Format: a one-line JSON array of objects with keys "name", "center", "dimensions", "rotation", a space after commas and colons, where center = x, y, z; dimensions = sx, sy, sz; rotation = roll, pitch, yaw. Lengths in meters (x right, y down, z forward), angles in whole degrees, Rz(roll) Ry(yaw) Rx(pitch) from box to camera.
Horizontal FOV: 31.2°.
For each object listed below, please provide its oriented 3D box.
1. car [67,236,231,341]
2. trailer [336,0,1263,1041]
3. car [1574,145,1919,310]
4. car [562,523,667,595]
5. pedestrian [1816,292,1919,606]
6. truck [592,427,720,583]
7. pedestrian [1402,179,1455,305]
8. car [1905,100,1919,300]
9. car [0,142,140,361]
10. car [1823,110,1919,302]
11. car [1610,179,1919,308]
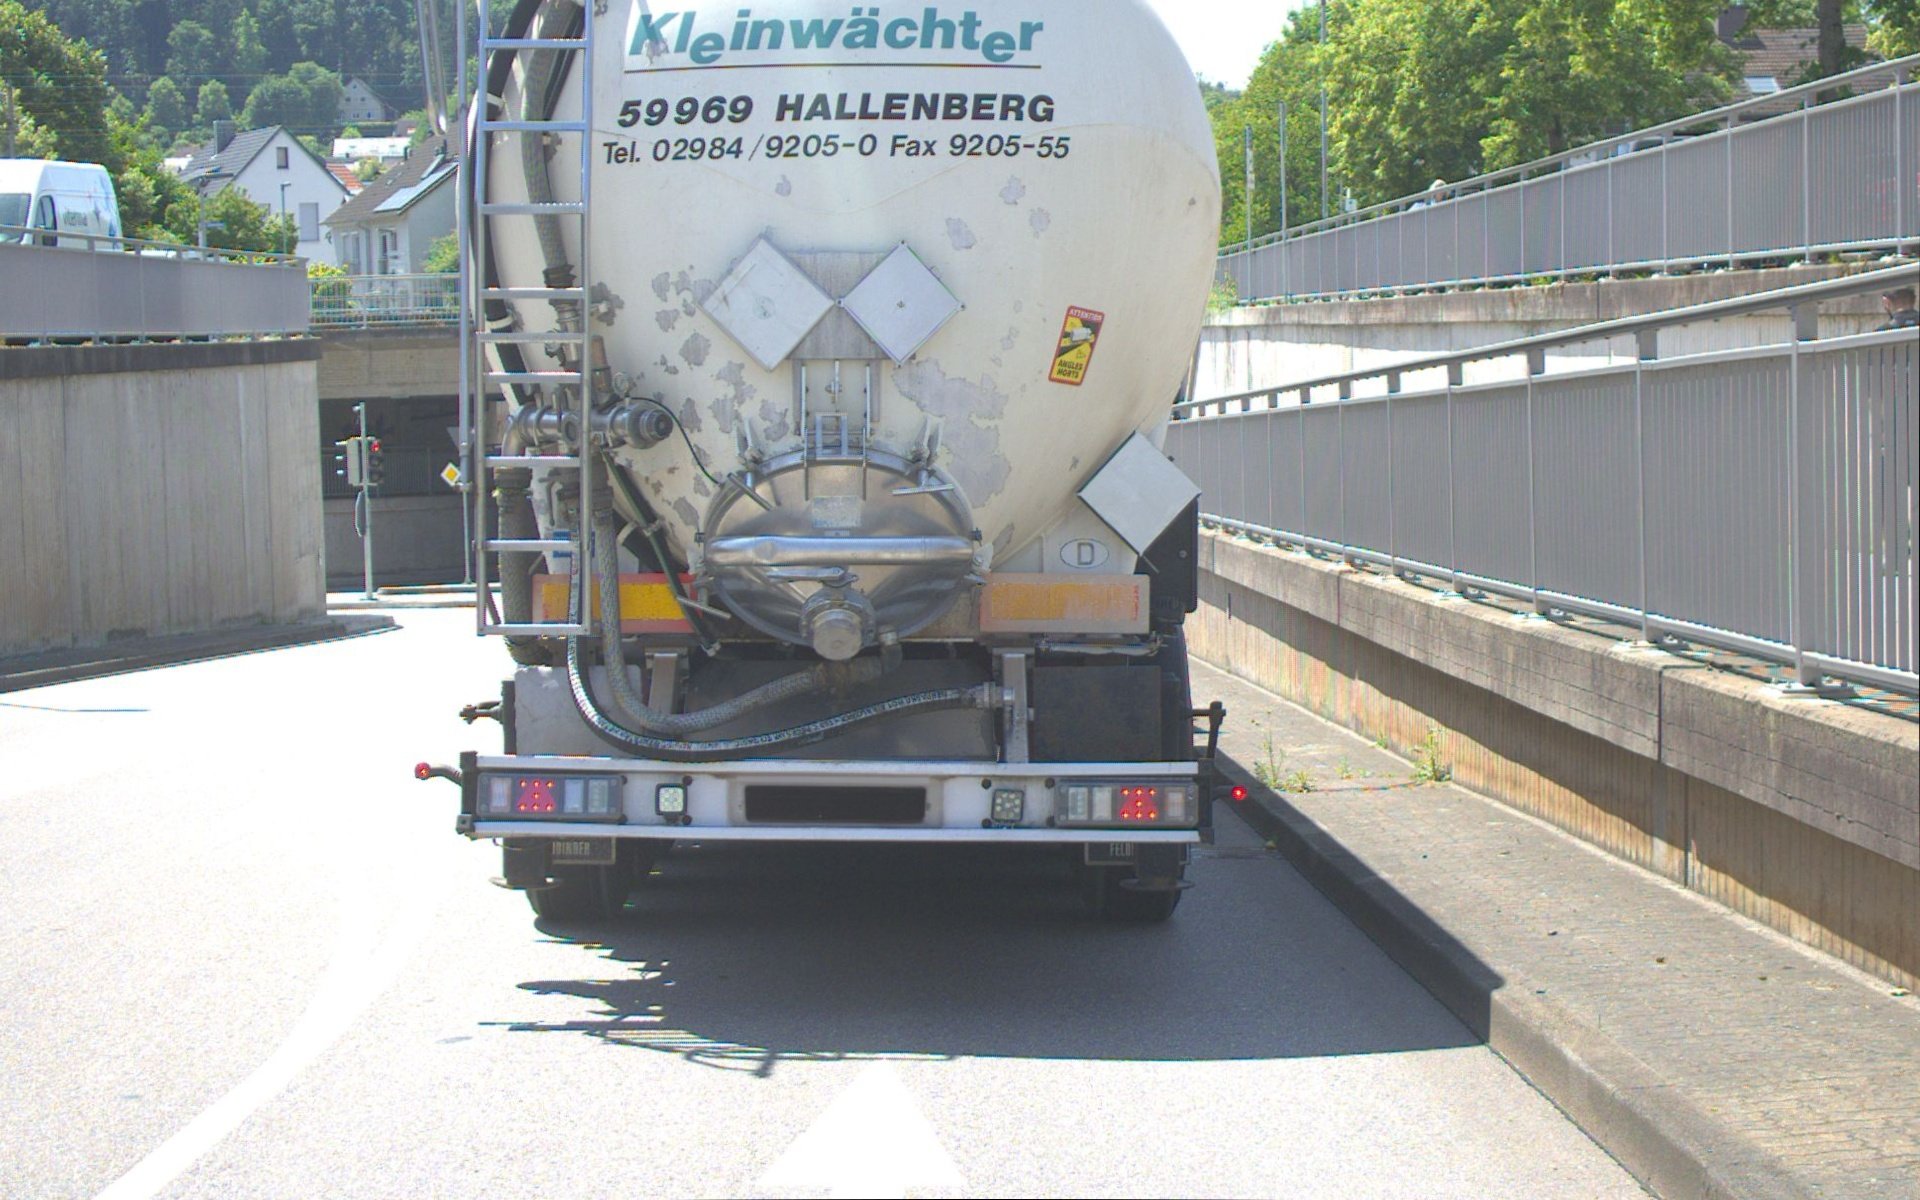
[{"name": "car", "center": [-12.249, -4.693, 52.143], "dimensions": [1.618, 1.495, 4.046], "rotation": [0, 4, -1]}, {"name": "trailer", "center": [-0.426, -0.856, 16.821], "dimensions": [2.735, 4.050, 13.313], "rotation": [0, 1, 0]}, {"name": "car", "center": [9.605, -4.529, 41.992], "dimensions": [3.905, 1.878, 1.686], "rotation": [-1, 4, 1]}, {"name": "car", "center": [-7.285, -0.884, 72.738], "dimensions": [1.760, 1.484, 4.369], "rotation": [0, 1, 0]}, {"name": "pedestrian", "center": [5.486, -0.873, 19.905], "dimensions": [0.836, 1.775, 0.788], "rotation": [-1, 2, 0]}, {"name": "truck", "center": [-7.743, -2.412, 88.246], "dimensions": [2.662, 3.847, 6.580], "rotation": [0, 1, 0]}, {"name": "pedestrian", "center": [6.753, -5.153, 49.543], "dimensions": [0.673, 1.773, 0.594], "rotation": [-1, 4, 1]}, {"name": "car", "center": [9.820, -3.231, 27.250], "dimensions": [4.204, 1.590, 1.686], "rotation": [-1, 4, 1]}, {"name": "car", "center": [-11.940, -4.266, 42.762], "dimensions": [2.065, 2.527, 5.663], "rotation": [1, 4, 1]}, {"name": "car", "center": [9.804, -3.436, 29.850], "dimensions": [4.204, 1.590, 1.686], "rotation": [-1, 4, 1]}, {"name": "car", "center": [9.591, -4.091, 39.568], "dimensions": [3.905, 1.362, 1.686], "rotation": [-1, 4, 1]}]
